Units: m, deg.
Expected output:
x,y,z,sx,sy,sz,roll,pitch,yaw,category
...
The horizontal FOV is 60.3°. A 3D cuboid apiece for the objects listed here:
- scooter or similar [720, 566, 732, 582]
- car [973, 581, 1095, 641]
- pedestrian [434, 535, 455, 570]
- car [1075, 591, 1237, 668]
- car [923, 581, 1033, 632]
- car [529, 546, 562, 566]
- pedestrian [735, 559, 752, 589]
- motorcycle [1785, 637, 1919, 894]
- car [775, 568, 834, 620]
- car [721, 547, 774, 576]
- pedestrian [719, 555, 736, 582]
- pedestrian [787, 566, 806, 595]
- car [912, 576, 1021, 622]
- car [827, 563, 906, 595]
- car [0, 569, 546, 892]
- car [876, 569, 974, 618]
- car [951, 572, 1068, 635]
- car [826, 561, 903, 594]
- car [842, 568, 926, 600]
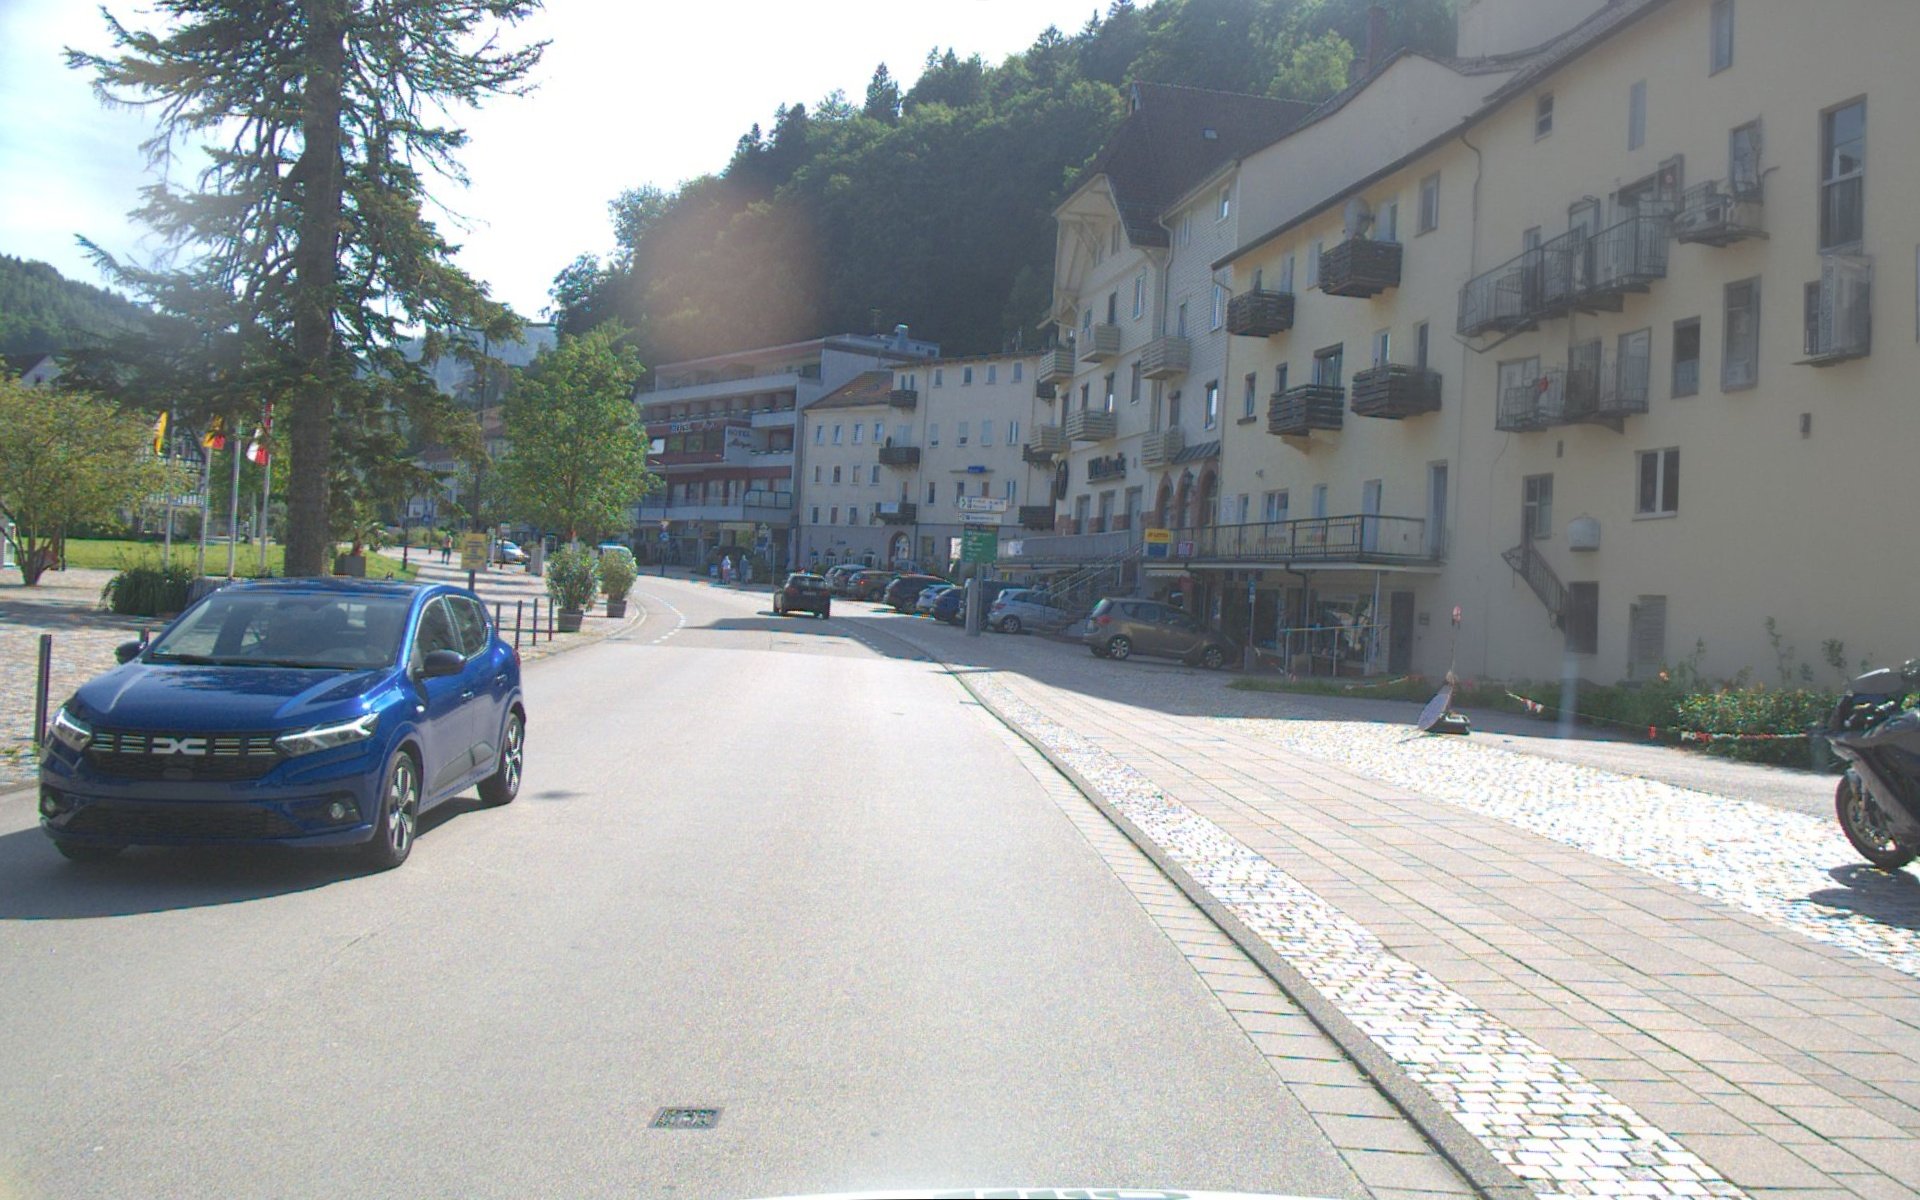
x,y,z,sx,sy,sz,roll,pitch,yaw,category
-14.348,-1.596,101.432,0.590,0.967,0.469,4,1,-32,scooter or similar
2.527,0.370,57.204,3.839,1.616,1.771,6,1,-9,car
-28.275,-2.611,90.741,0.858,1.846,0.684,4,0,-30,pedestrian
5.154,0.760,43.624,3.792,1.581,1.756,6,0,-12,car
0.664,0.237,62.447,3.838,1.485,1.733,6,0,-9,car
-37.782,-4.030,150.754,1.661,1.648,3.956,4,1,-33,car
-13.244,-1.615,101.162,0.662,1.758,0.700,4,0,-31,pedestrian
5.404,0.895,8.946,0.683,1.319,2.211,1,0,-3,motorcycle
-5.722,-0.245,60.673,1.697,1.601,3.744,4,2,-11,car
-14.227,-2.590,110.801,3.129,1.691,1.579,4,1,-30,car
-14.243,-1.916,101.287,0.750,1.621,0.621,4,0,-31,pedestrian
-8.632,-1.018,87.143,0.730,1.467,0.624,1,2,-39,pedestrian
0.245,-0.038,68.981,4.274,1.486,1.770,5,-1,-7,car
-5.004,-1.100,88.377,3.819,1.576,1.756,0,3,-29,car
-3.776,0.600,9.891,1.706,1.488,4.185,1,1,-3,car
-1.576,-0.285,73.842,4.010,1.694,1.769,7,0,-9,car
1.767,0.127,59.896,3.838,1.835,1.854,6,0,-9,car
-5.207,-1.235,90.460,3.819,1.640,1.756,0,3,-29,car
-3.937,-0.827,85.461,3.966,1.542,1.756,0,3,-29,car
